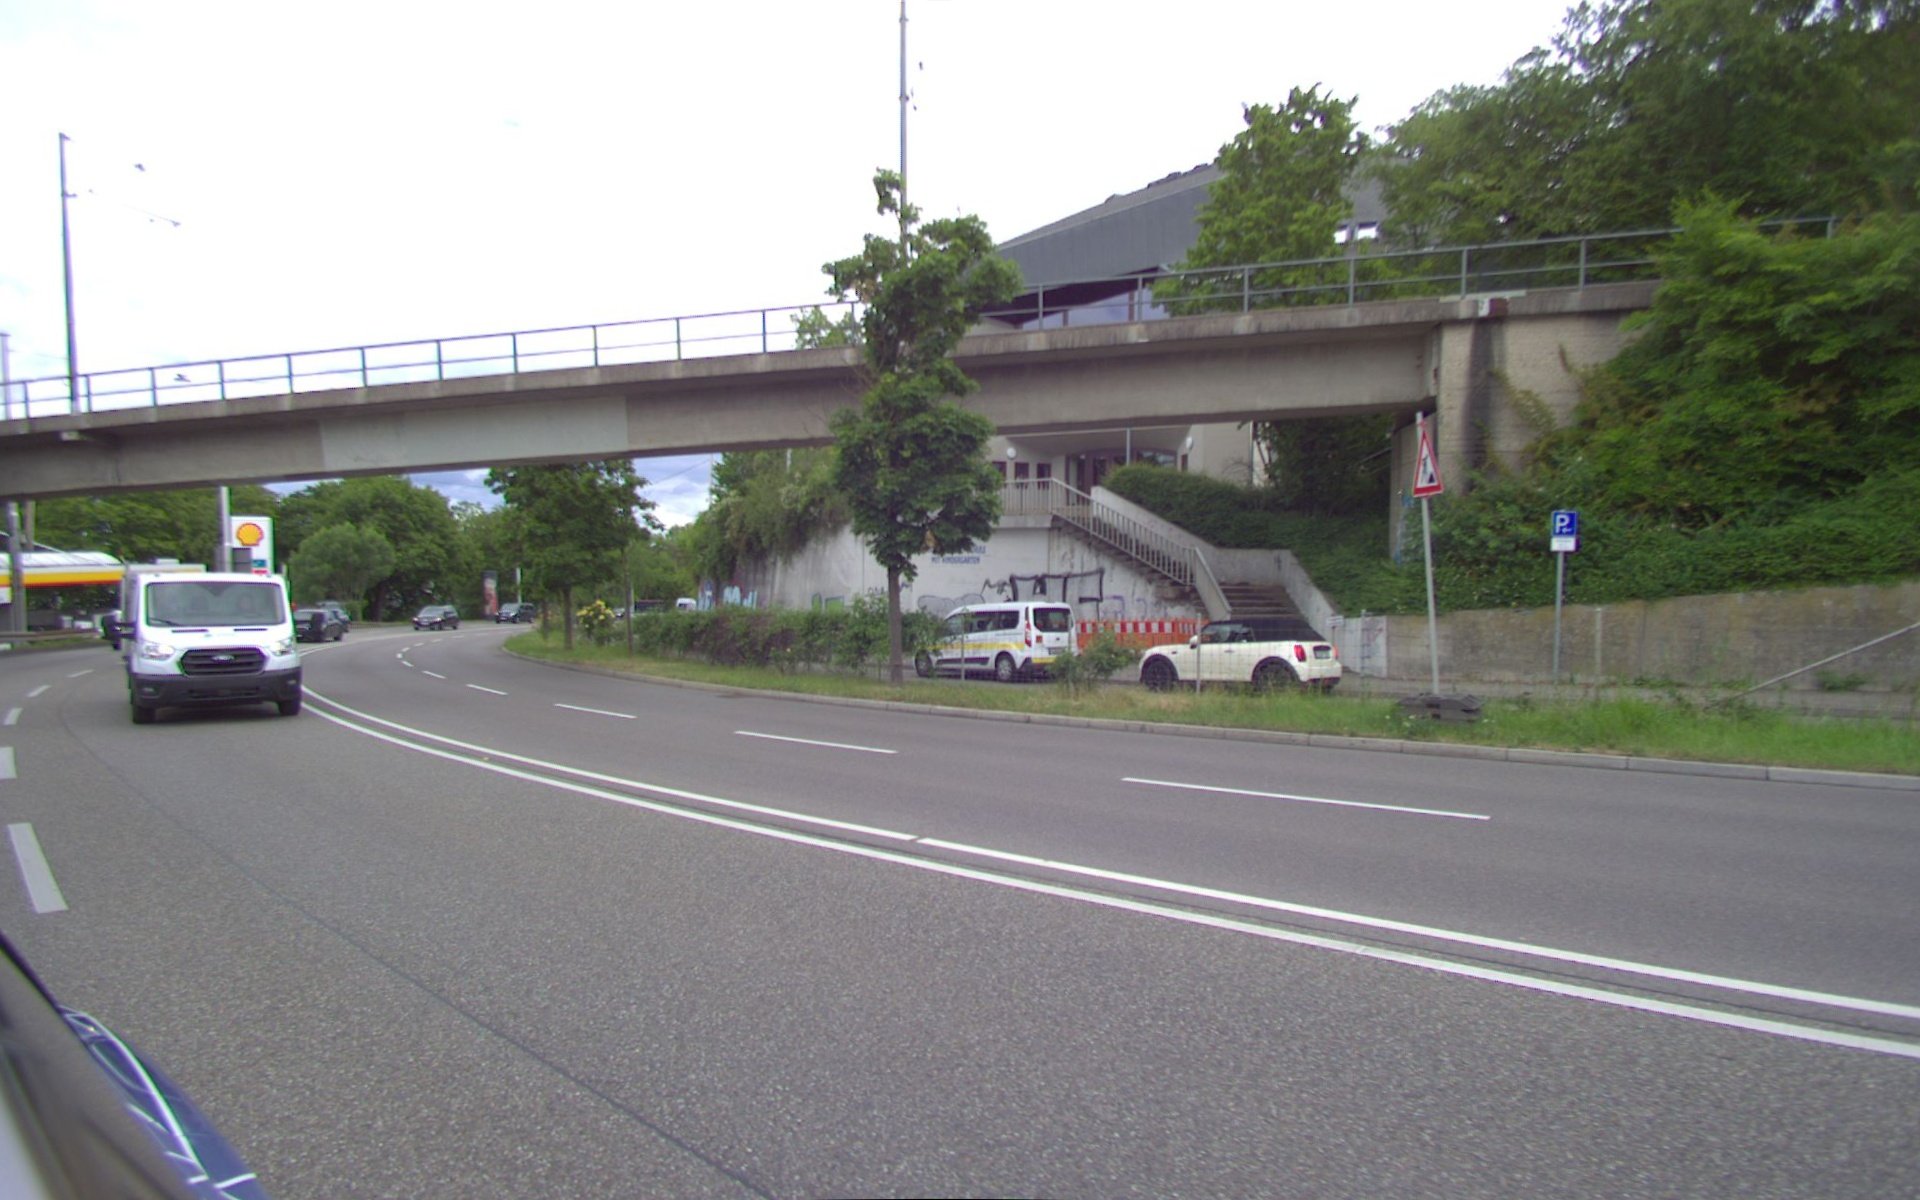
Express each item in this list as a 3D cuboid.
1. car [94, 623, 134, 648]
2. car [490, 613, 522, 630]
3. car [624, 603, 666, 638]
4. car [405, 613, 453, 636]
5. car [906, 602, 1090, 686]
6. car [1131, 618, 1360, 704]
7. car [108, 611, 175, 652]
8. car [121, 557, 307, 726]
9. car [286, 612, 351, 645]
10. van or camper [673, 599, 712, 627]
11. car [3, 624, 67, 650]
[{"bbox_3d":[-60.692,2.527,72.583,4.099,1.531,1.606,3,2,41],"label":"car"},{"bbox_3d":[-41.246,1.905,92.031,1.703,1.489,4.008,-1,0,-10],"label":"car"},{"bbox_3d":[-21.667,1.364,69.836,2.237,2.290,6.343,1,-1,-13],"label":"car"},{"bbox_3d":[-35.883,1.638,68.490,1.703,1.489,4.007,-1,0,-9],"label":"car"},{"bbox_3d":[0.800,1.001,23.890,1.745,1.799,4.471,2,-2,-41],"label":"car"},{"bbox_3d":[5.250,1.065,18.972,1.745,1.430,3.808,1,-1,-41],"label":"car"},{"bbox_3d":[-30.352,1.136,37.622,1.706,1.421,4.009,0,-1,-36],"label":"car"},{"bbox_3d":[-12.080,0.620,16.176,1.968,2.190,6.278,1,-2,-40],"label":"car"},{"bbox_3d":[-29.769,1.294,47.071,1.708,1.422,4.013,-1,-1,-19],"label":"car"},{"bbox_3d":[-24.422,1.193,92.514,1.973,2.491,5.707,1,-1,1],"label":"van or camper"},{"bbox_3d":[-62.822,2.514,68.738,4.081,1.446,1.710,3,2,24],"label":"car"}]
